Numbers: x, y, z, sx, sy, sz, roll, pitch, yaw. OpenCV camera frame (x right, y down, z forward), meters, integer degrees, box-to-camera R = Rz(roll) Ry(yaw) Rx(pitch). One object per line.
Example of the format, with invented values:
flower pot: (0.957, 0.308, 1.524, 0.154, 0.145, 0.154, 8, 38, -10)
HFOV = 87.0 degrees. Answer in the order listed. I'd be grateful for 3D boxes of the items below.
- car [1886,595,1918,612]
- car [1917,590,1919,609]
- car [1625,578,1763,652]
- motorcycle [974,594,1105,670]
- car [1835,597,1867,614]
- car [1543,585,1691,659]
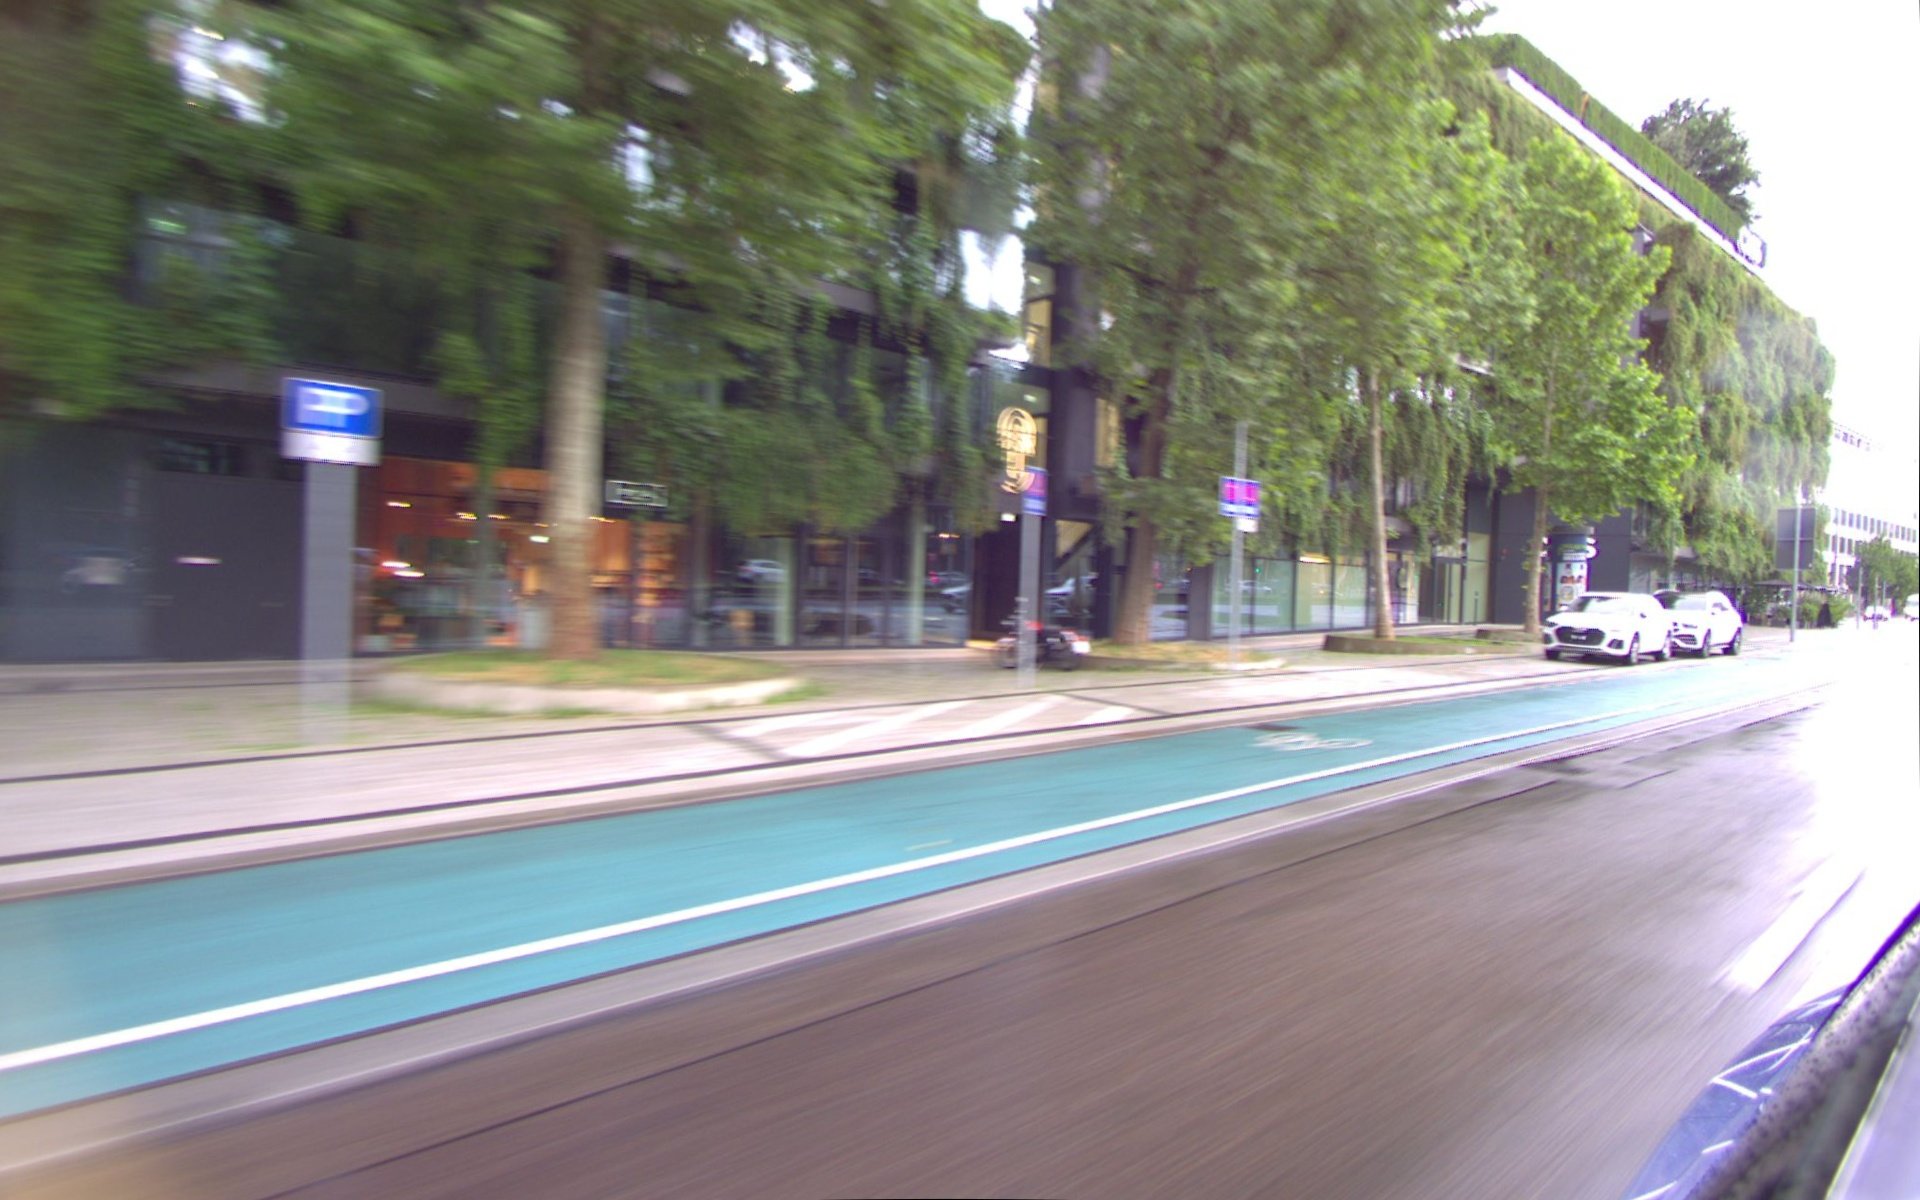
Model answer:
car: (90.704, 0.320, 97.396, 4.588, 1.571, 1.738, 0, 1, -41)
car: (106.910, -0.050, 111.278, 3.930, 2.039, 1.997, 1, 1, -41)
car: (20.669, 0.396, 28.422, 5.002, 1.861, 1.848, 1, 2, -39)
motorcycle: (1.406, 0.545, 18.367, 1.034, 1.286, 2.311, 1, -1, -41)
car: (86.626, 0.496, 98.401, 4.588, 1.571, 1.738, 0, 1, -41)
car: (16.175, 0.496, 24.821, 4.703, 1.653, 1.846, 1, 1, -41)
